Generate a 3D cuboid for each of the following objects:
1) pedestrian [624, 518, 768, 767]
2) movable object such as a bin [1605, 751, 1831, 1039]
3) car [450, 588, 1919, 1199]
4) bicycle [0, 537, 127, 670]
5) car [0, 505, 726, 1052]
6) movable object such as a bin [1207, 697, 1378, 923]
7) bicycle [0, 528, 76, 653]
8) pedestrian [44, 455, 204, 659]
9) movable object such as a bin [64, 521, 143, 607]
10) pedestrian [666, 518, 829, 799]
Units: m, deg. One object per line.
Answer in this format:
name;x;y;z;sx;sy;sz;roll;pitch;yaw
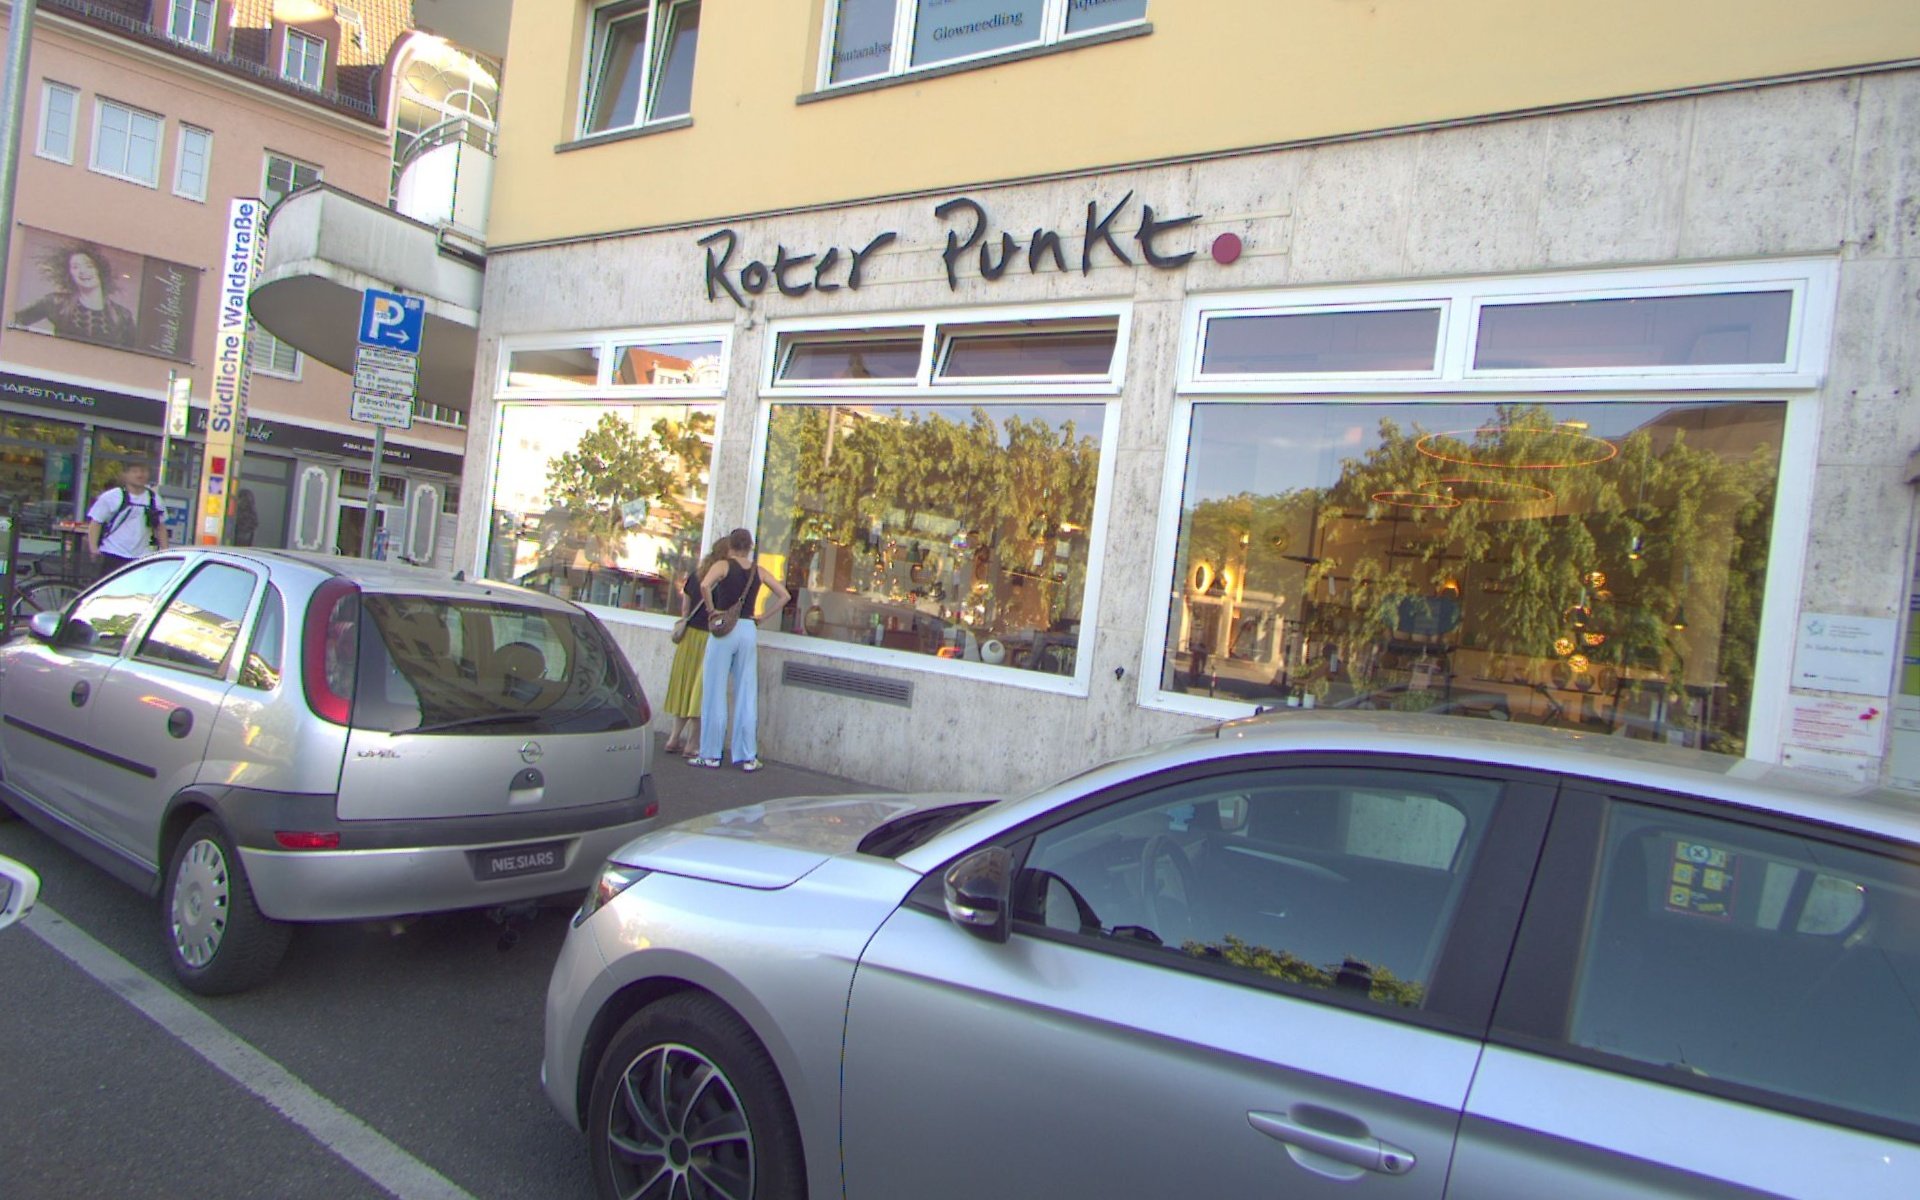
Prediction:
pedestrian;-2.035;0.315;7.833;0.710;1.777;0.787;5;2;7
movable object such as a bin;3.372;1.262;4.545;0.639;1.035;0.738;6;-1;31
car;0.779;0.940;2.279;3.624;1.453;1.587;6;-2;30
bicycle;-8.166;0.000;8.252;0.642;1.057;1.884;7;0;33
car;-2.958;0.481;4.459;3.520;1.443;1.587;6;-2;32
movable object such as a bin;1.824;1.094;5.475;0.639;1.035;0.738;6;-1;31
bicycle;-9.057;-0.154;8.796;0.642;1.072;1.816;7;-1;33
pedestrian;-8.183;-0.417;9.853;0.967;1.844;0.809;6;-1;35
movable object such as a bin;-12.000;-0.496;14.094;0.716;1.117;0.636;7;2;35
pedestrian;-1.547;0.387;7.273;0.678;1.874;0.883;3;3;-43
